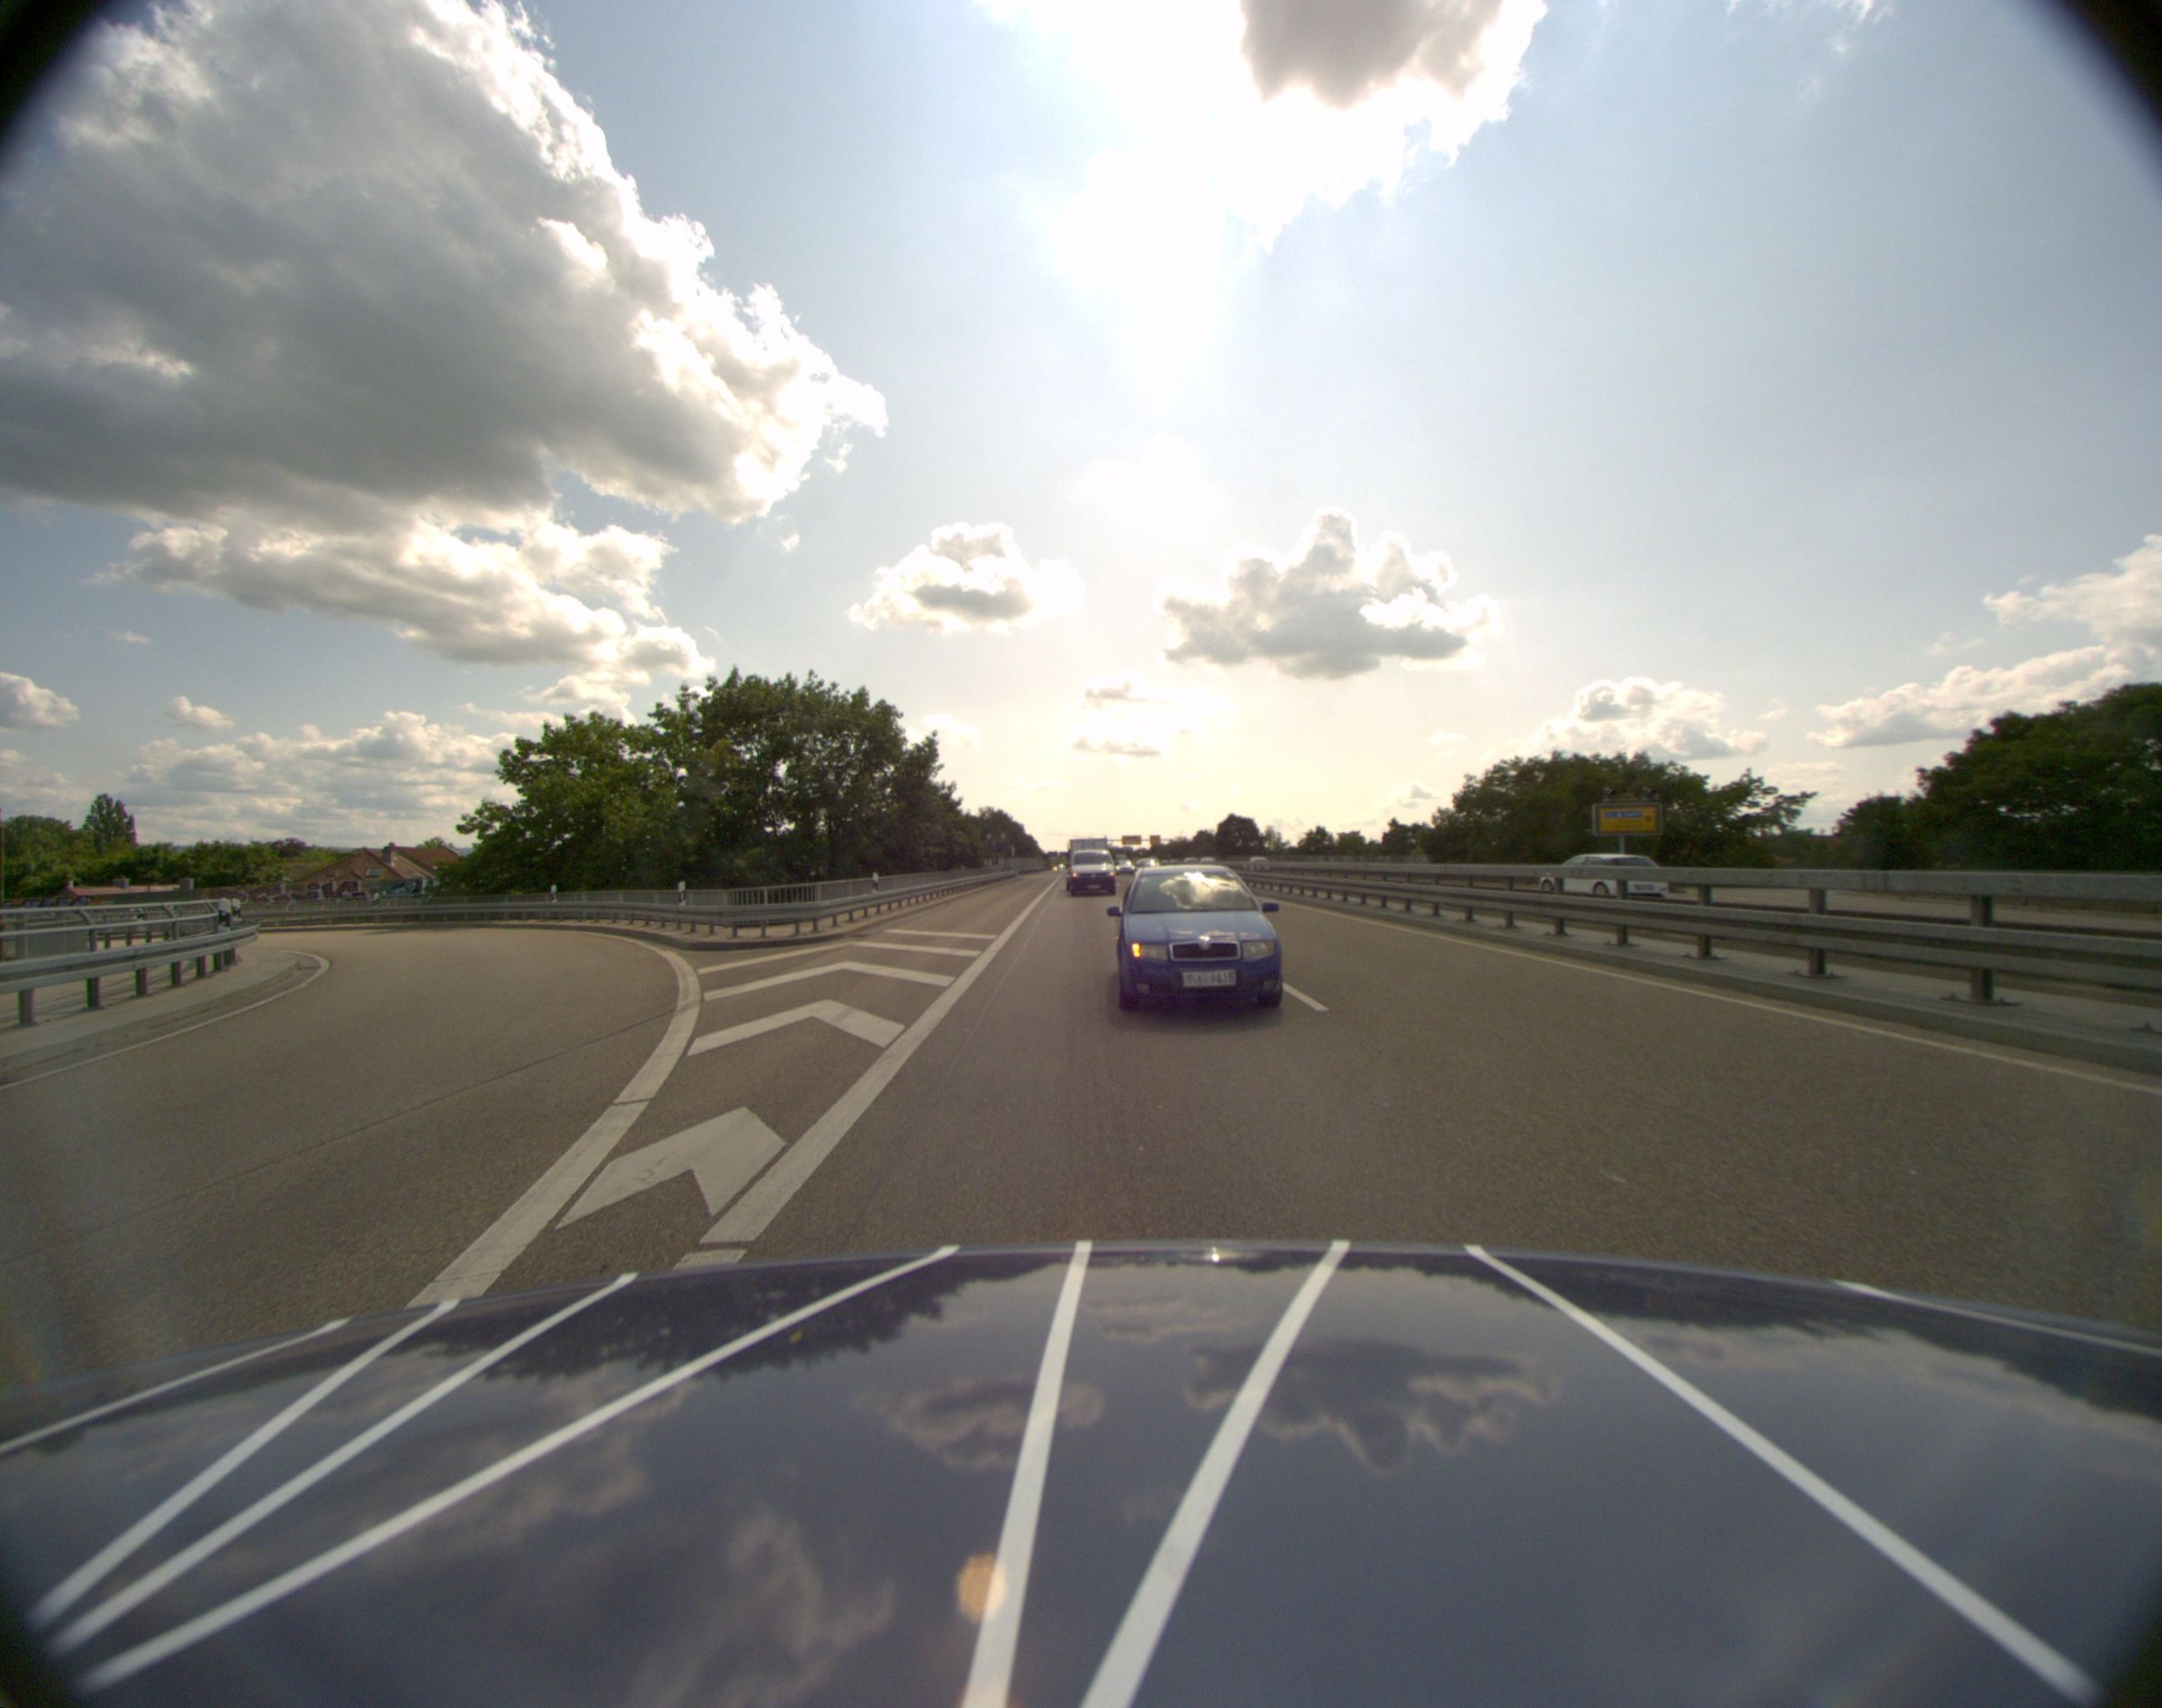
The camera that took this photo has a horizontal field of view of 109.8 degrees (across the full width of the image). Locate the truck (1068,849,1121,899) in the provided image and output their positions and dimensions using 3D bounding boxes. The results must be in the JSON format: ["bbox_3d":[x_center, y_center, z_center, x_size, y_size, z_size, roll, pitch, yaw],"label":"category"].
[{"bbox_3d":[0.510,0.806,31.553,2.008,1.905,4.000,-2,0,-1],"label":"truck"}]

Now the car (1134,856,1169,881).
[{"bbox_3d":[4.640,0.904,50.471,1.779,1.518,4.465,-2,0,0],"label":"car"}]

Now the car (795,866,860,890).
[{"bbox_3d":[-17.062,1.600,51.189,3.777,1.403,1.765,-2,0,-33],"label":"car"}]

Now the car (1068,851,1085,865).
[{"bbox_3d":[-0.480,0.470,88.237,1.802,1.586,3.985,-2,0,0],"label":"car"}]

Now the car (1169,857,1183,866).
[{"bbox_3d":[15.500,1.237,124.194,1.602,1.466,3.630,1,0,-2],"label":"car"}]

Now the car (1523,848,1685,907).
[{"bbox_3d":[16.079,0.677,23.732,1.802,1.586,4.712,-2,0,0],"label":"car"}]

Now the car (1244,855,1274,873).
[{"bbox_3d":[16.313,0.873,69.831,1.834,1.572,3.954,-2,0,1],"label":"car"}]

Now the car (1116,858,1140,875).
[{"bbox_3d":[4.463,1.177,72.523,1.895,1.518,4.465,-2,0,0],"label":"car"}]

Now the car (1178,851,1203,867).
[{"bbox_3d":[11.631,0.531,80.890,1.907,1.520,4.242,-3,0,-2],"label":"car"}]

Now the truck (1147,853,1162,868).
[{"bbox_3d":[11.330,0.920,117.344,1.877,2.174,5.188,-2,0,1],"label":"truck"}]

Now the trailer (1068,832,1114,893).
[{"bbox_3d":[0.408,0.411,37.933,1.999,2.723,5.966,-3,0,-1],"label":"trailer"}]

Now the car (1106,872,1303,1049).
[{"bbox_3d":[1.141,0.980,8.535,1.625,1.403,3.771,-2,0,1],"label":"car"}]
